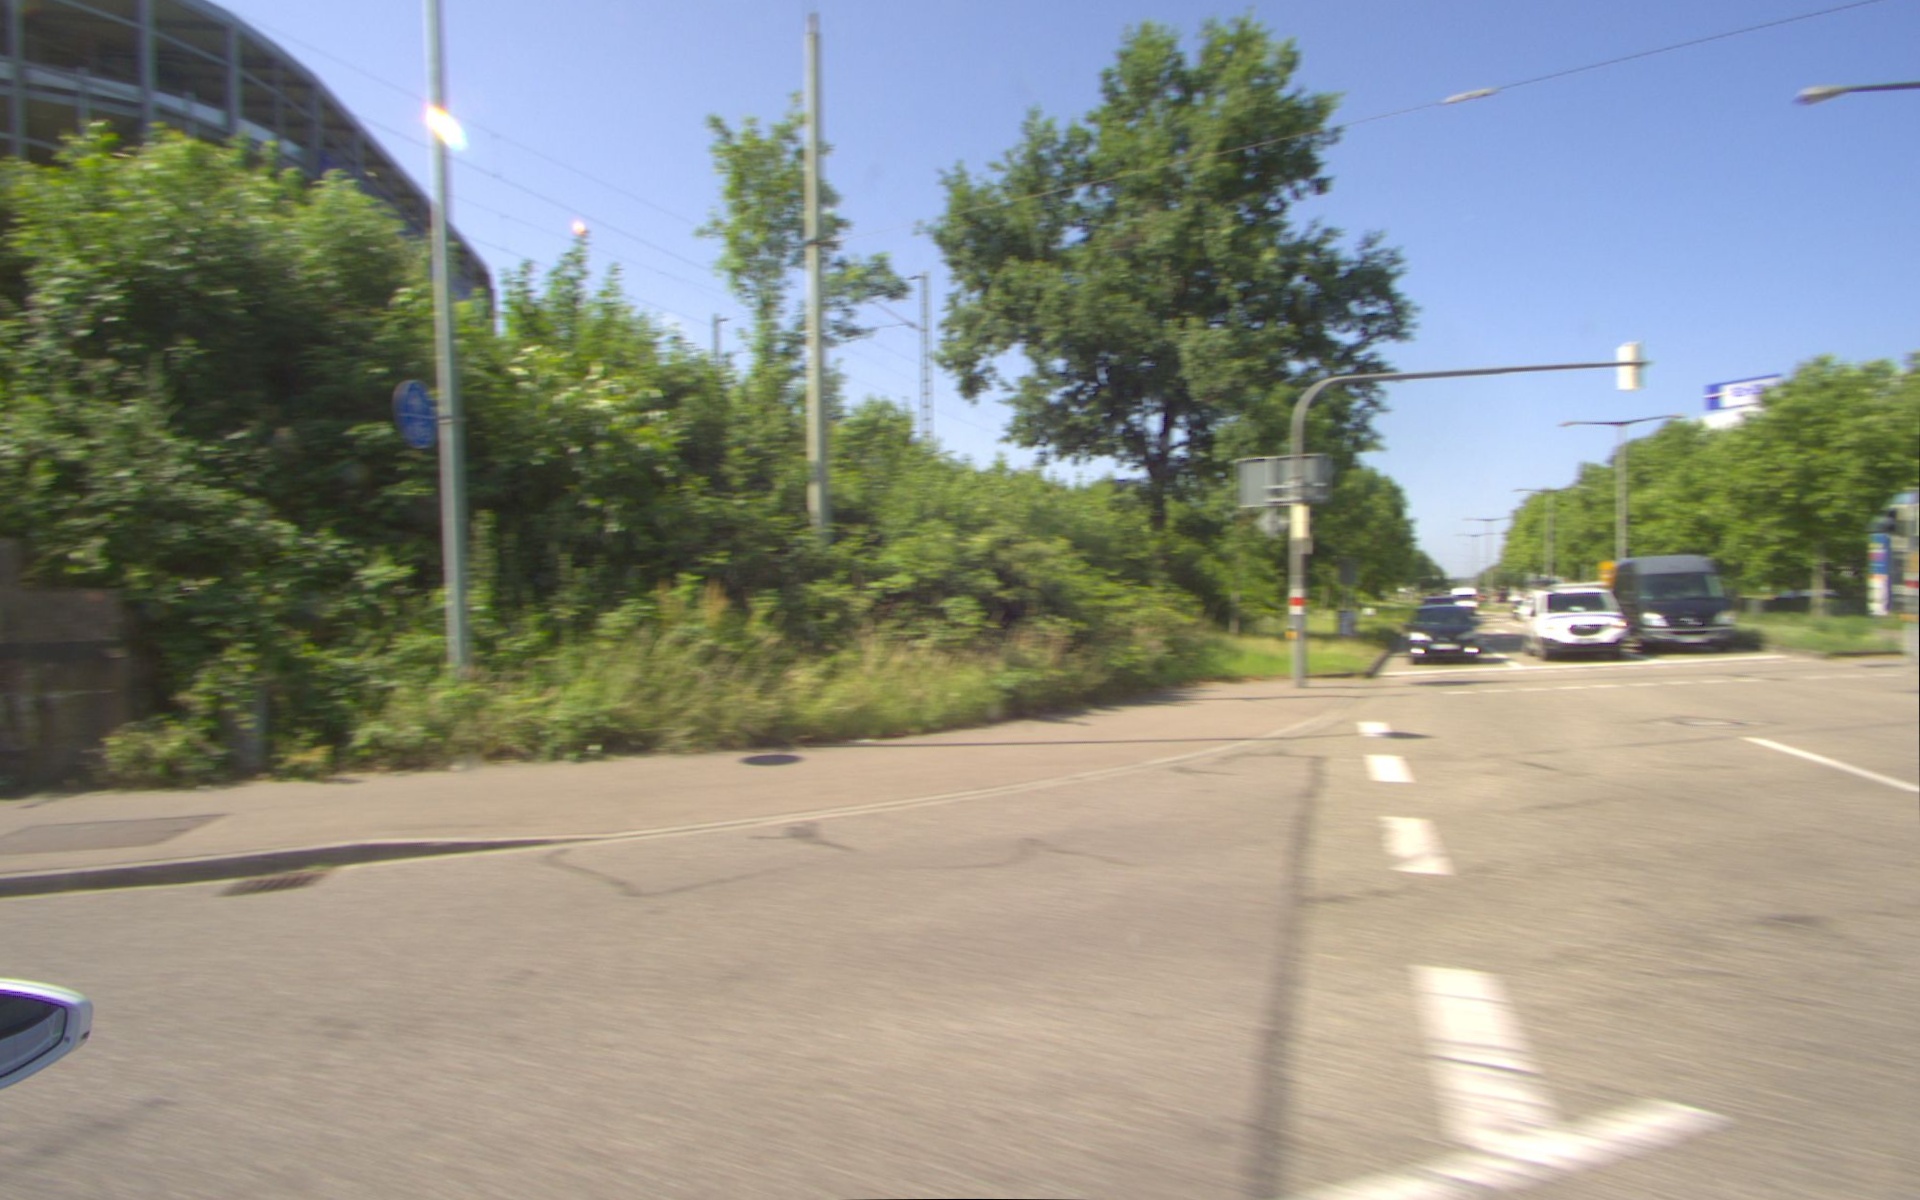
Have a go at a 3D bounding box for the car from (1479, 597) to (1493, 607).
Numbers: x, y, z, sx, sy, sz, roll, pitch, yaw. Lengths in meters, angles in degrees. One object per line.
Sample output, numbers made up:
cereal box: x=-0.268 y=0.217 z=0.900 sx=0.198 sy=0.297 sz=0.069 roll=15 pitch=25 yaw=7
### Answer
car: x=91.312 y=0.314 z=173.910 sx=1.968 sy=1.606 sz=4.440 roll=1 pitch=0 yaw=26

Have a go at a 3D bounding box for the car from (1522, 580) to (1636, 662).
car: x=15.684 y=0.518 z=25.609 sx=1.968 sy=1.894 sz=4.757 roll=-1 pitch=-1 yaw=26

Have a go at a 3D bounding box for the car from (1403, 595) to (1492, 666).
car: x=12.419 y=0.735 z=25.536 sx=1.887 sy=1.663 sz=3.724 roll=-1 pitch=-1 yaw=26

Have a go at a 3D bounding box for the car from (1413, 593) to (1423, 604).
car: x=90.479 y=-0.281 z=197.797 sx=1.863 sy=2.040 sz=3.986 roll=1 pitch=0 yaw=25

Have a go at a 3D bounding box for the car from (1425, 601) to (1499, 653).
car: x=15.941 y=0.831 z=31.901 sx=1.968 sy=1.560 sz=4.221 roll=-1 pitch=-1 yaw=26

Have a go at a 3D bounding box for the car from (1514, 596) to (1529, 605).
car: x=100.301 y=0.052 z=178.879 sx=1.968 sy=1.606 sz=4.440 roll=1 pitch=0 yaw=26

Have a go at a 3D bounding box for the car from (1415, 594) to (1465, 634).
car: x=21.863 y=0.645 z=45.599 sx=1.968 sy=1.701 sz=4.221 roll=-1 pitch=-1 yaw=26

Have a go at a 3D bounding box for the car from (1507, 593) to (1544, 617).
car: x=40.118 y=0.359 z=71.078 sx=1.967 sy=1.662 sz=3.986 roll=1 pitch=0 yaw=26

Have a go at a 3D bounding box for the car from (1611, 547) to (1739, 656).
car: x=19.226 y=0.074 z=27.173 sx=1.968 sy=2.641 sz=5.115 roll=-1 pitch=-1 yaw=26

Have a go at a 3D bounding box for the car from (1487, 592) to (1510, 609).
car: x=55.992 y=0.087 z=104.170 sx=1.968 sy=1.701 sz=4.221 roll=-1 pitch=-1 yaw=26

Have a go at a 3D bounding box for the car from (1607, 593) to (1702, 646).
car: x=22.844 y=0.645 z=33.091 sx=1.969 sy=1.605 sz=3.985 roll=-2 pitch=-1 yaw=26

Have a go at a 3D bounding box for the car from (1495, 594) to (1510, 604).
car: x=93.627 y=-0.166 z=172.796 sx=1.968 sy=1.606 sz=4.440 roll=1 pitch=0 yaw=26

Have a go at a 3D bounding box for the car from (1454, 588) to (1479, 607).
car: x=46.632 y=-0.233 z=92.289 sx=1.968 sy=1.701 sz=4.221 roll=-1 pitch=-1 yaw=26

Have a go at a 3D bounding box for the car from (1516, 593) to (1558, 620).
car: x=36.454 y=0.428 z=63.321 sx=1.968 sy=1.606 sz=3.985 roll=1 pitch=0 yaw=26
